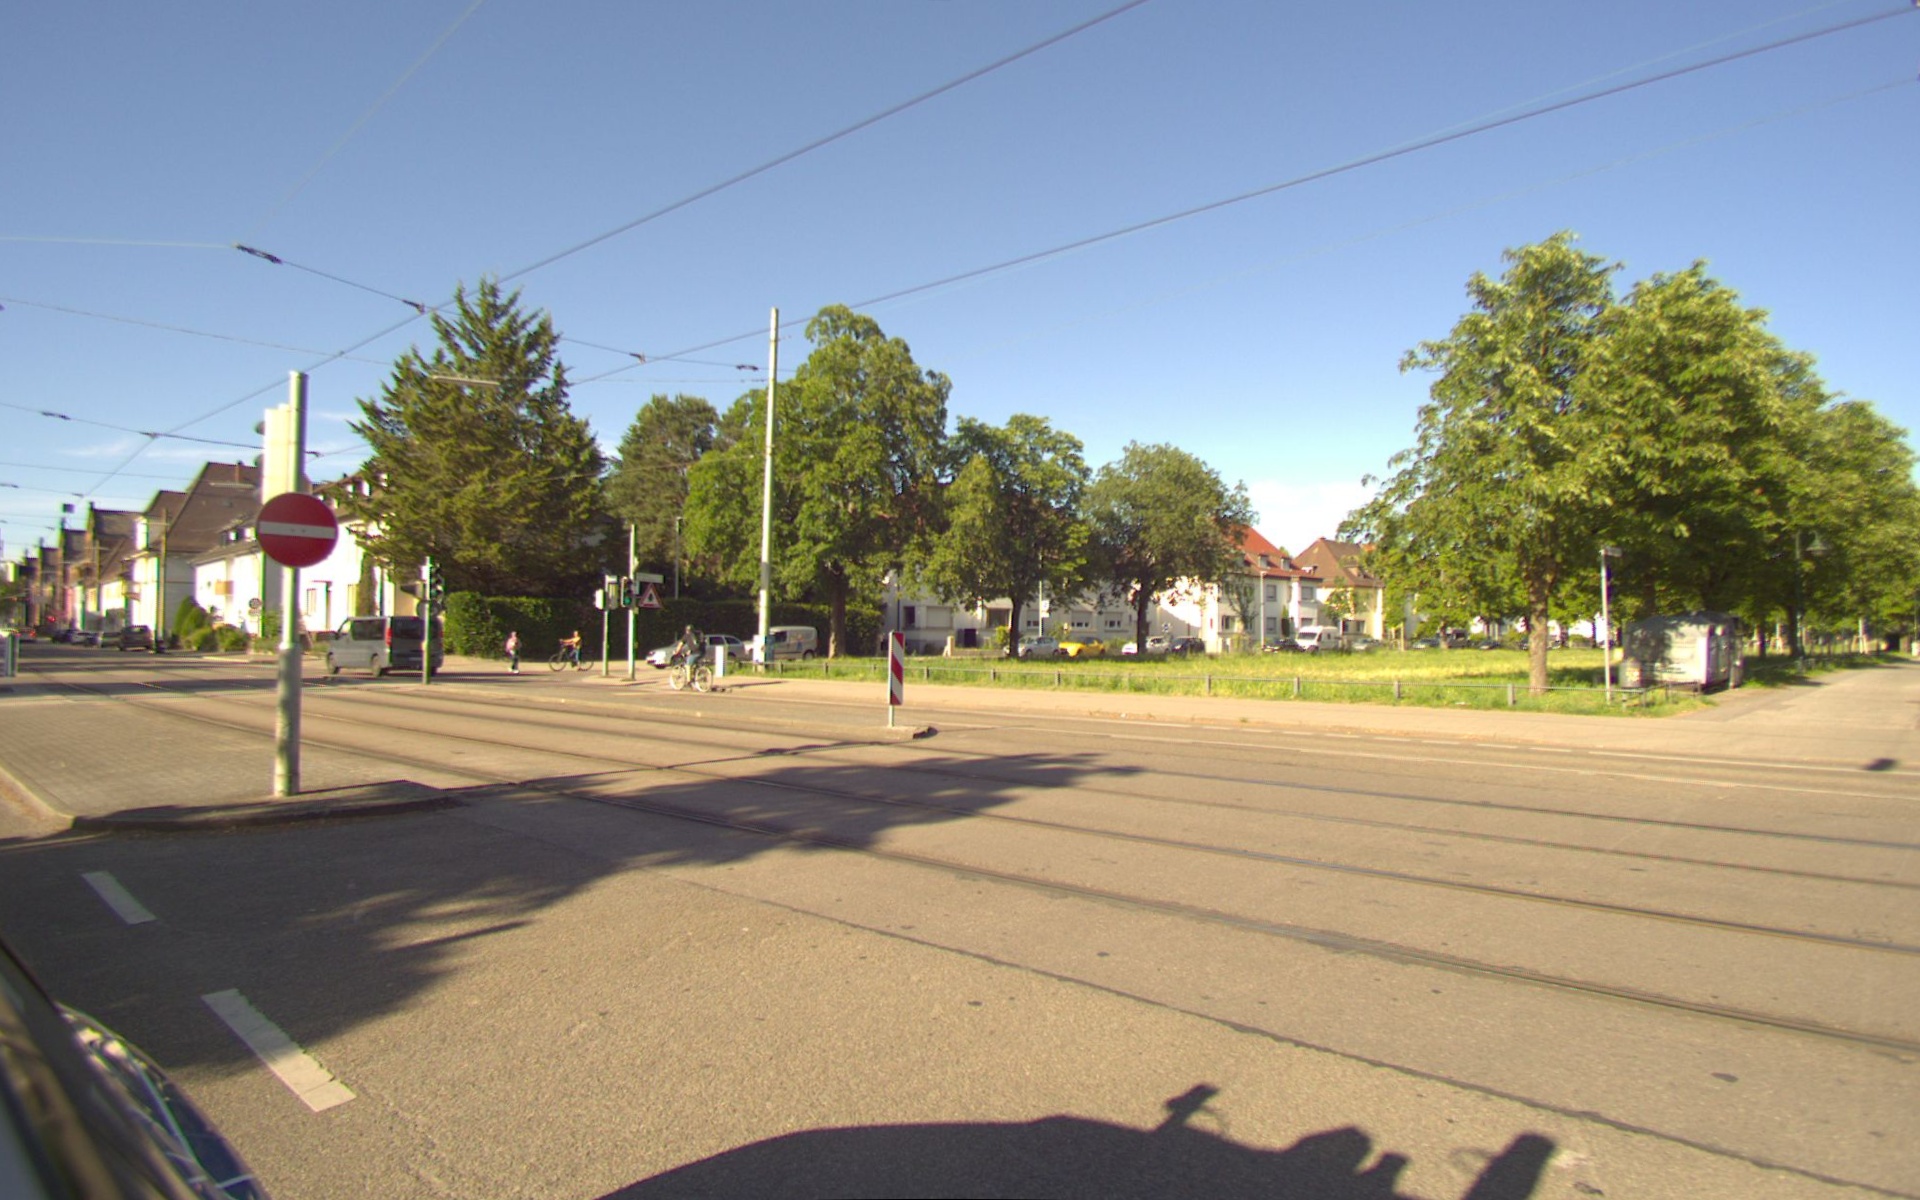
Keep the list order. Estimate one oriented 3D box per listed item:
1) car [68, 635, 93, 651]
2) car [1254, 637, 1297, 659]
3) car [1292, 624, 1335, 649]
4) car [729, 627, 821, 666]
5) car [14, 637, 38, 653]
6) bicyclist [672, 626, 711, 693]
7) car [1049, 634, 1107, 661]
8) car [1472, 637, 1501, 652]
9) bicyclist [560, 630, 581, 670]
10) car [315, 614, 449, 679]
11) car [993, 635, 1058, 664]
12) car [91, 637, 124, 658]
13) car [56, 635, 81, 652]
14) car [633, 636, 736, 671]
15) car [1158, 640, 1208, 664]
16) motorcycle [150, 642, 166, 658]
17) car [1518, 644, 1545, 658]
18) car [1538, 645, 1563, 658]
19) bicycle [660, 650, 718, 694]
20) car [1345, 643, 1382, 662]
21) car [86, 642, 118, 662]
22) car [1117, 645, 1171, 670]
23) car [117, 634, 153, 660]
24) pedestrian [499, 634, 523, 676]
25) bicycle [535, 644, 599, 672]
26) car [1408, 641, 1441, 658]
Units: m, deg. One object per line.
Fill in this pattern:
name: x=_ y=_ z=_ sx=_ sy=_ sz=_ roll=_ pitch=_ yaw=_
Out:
car: x=-90.047 y=4.424 z=103.560 sx=1.896 sy=1.576 sz=4.005 roll=-1 pitch=-1 yaw=-42
car: x=26.385 y=3.979 z=84.527 sx=3.828 sy=1.756 sz=1.818 roll=2 pitch=-3 yaw=-44
car: x=30.993 y=3.228 z=88.647 sx=4.120 sy=2.110 sz=1.818 roll=2 pitch=-3 yaw=-44
car: x=-9.249 y=2.307 z=50.746 sx=4.250 sy=1.881 sz=1.818 roll=2 pitch=-4 yaw=-44
car: x=-102.502 y=4.936 z=111.077 sx=1.896 sy=1.728 sz=4.005 roll=-1 pitch=-1 yaw=-42
bicyclist: x=-7.129 y=1.579 z=26.839 sx=0.901 sy=1.724 sz=0.580 roll=-3 pitch=-5 yaw=42
car: x=7.792 y=3.132 z=66.762 sx=3.828 sy=1.756 sz=1.818 roll=2 pitch=-3 yaw=-44
car: x=61.380 y=5.146 z=117.981 sx=3.828 sy=1.756 sz=1.818 roll=2 pitch=-3 yaw=-44
bicyclist: x=-15.939 y=2.032 z=41.391 sx=0.551 sy=1.635 sz=0.900 roll=2 pitch=-3 yaw=-38
car: x=-19.421 y=1.609 z=33.924 sx=5.242 sy=2.029 sz=2.000 roll=-3 pitch=-5 yaw=38
car: x=4.136 y=3.063 z=63.521 sx=4.138 sy=1.756 sz=1.818 roll=2 pitch=-3 yaw=-44
car: x=-74.877 y=4.132 z=88.831 sx=1.897 sy=1.728 sz=4.002 roll=0 pitch=-2 yaw=-45
car: x=-100.439 y=4.910 z=114.029 sx=1.897 sy=1.728 sz=4.003 roll=-1 pitch=-1 yaw=-44
car: x=-12.053 y=2.333 z=44.370 sx=3.937 sy=1.444 sz=1.819 roll=2 pitch=-3 yaw=-40
car: x=16.580 y=3.842 z=75.234 sx=3.828 sy=1.756 sz=1.818 roll=2 pitch=-3 yaw=-44
motorcycle: x=-53.859 y=3.335 z=67.969 sx=0.597 sy=1.054 sz=2.439 roll=0 pitch=-2 yaw=-44
car: x=72.436 y=6.439 z=128.256 sx=3.828 sy=1.756 sz=1.818 roll=2 pitch=-3 yaw=-44
car: x=79.781 y=6.900 z=136.693 sx=3.828 sy=1.756 sz=1.818 roll=2 pitch=-3 yaw=-44
bicycle: x=-7.211 y=1.894 z=26.875 sx=1.826 sy=1.122 sz=0.580 roll=-3 pitch=-4 yaw=42
car: x=38.379 y=4.961 z=96.169 sx=3.828 sy=1.756 sz=1.818 roll=2 pitch=-3 yaw=-44
car: x=-79.135 y=4.743 z=93.306 sx=4.002 sy=1.728 sz=1.897 roll=-3 pitch=-2 yaw=45
car: x=13.072 y=4.046 z=71.828 sx=3.828 sy=1.756 sz=1.818 roll=2 pitch=-3 yaw=-44
car: x=-64.199 y=3.633 z=78.747 sx=1.896 sy=1.915 sz=4.004 roll=-1 pitch=-2 yaw=-43
pedestrian: x=-17.265 y=2.093 z=38.924 sx=0.614 sy=1.568 sz=0.679 roll=-1 pitch=-1 yaw=-4
bicycle: x=-16.030 y=2.363 z=41.314 sx=2.250 sy=1.126 sz=0.932 roll=2 pitch=-3 yaw=-38
car: x=48.502 y=5.182 z=105.623 sx=3.828 sy=1.756 sz=1.818 roll=2 pitch=-3 yaw=-44
